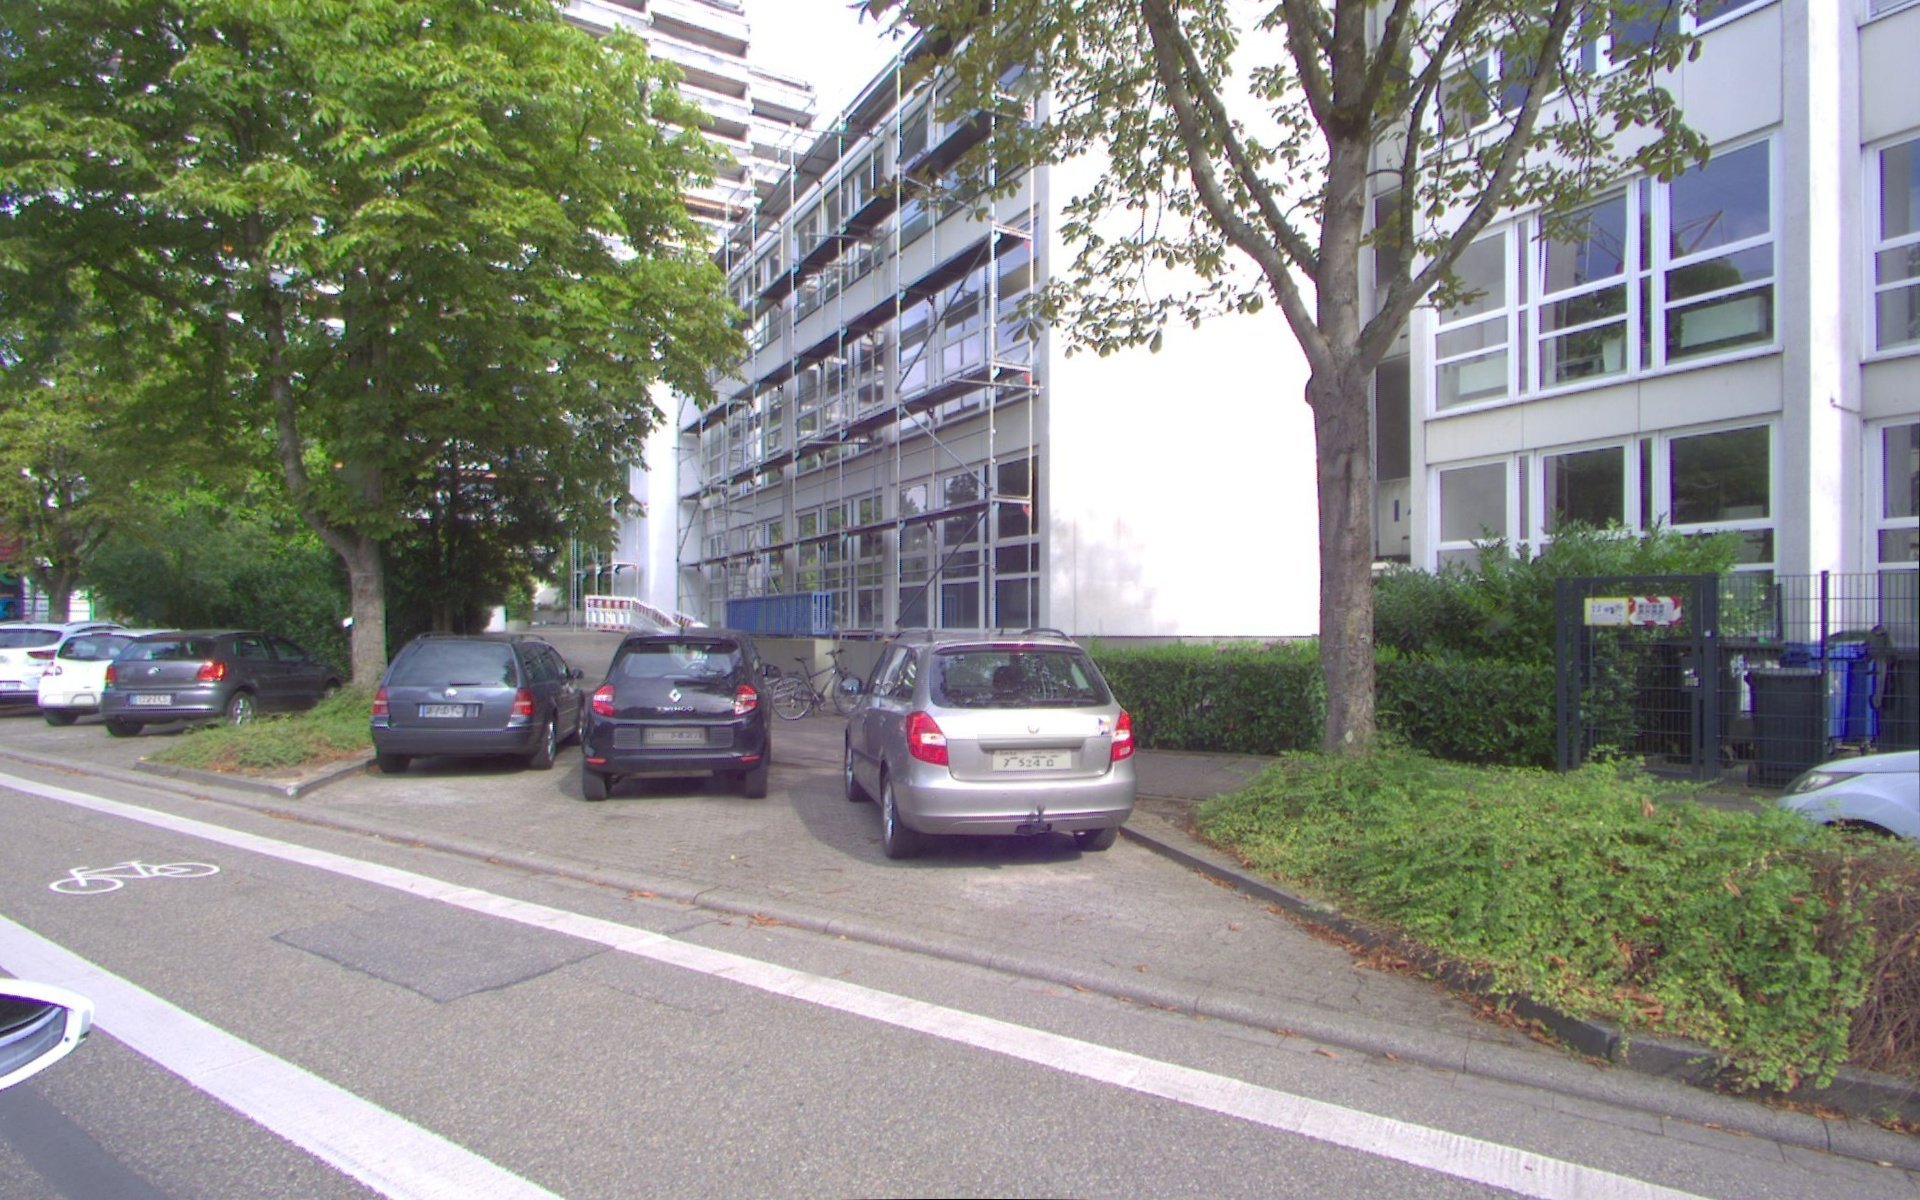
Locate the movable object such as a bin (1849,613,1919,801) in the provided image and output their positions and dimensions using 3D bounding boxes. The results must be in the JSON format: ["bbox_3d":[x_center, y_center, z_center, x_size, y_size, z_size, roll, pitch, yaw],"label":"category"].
[{"bbox_3d":[8.614,0.891,8.557,1.397,1.549,1.322,-1,-1,37],"label":"movable object such as a bin"}]

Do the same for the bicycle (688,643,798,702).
[{"bbox_3d":[-4.092,1.348,18.944,1.949,1.057,0.591,1,-1,-30],"label":"bicycle"}]

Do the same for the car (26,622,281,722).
[{"bbox_3d":[-13.415,1.142,16.957,1.650,1.493,3.647,0,-2,-6],"label":"car"}]

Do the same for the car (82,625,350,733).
[{"bbox_3d":[-11.076,1.113,15.255,1.650,1.438,3.647,0,-2,-6],"label":"car"}]

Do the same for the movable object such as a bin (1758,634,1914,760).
[{"bbox_3d":[10.400,1.102,11.900,1.160,1.388,1.171,1,-1,-36],"label":"movable object such as a bin"}]

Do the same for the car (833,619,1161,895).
[{"bbox_3d":[-0.004,0.962,7.811,1.566,1.557,4.049,1,-2,-13],"label":"car"}]

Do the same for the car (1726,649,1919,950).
[{"bbox_3d":[5.584,0.945,4.011,1.604,1.411,3.858,1,-2,-13],"label":"car"}]

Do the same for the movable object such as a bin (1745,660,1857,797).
[{"bbox_3d":[7.477,1.110,8.941,0.734,1.119,0.781,0,-1,38],"label":"movable object such as a bin"}]

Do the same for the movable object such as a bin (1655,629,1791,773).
[{"bbox_3d":[8.093,1.023,10.634,1.012,1.425,0.906,1,-1,-36],"label":"movable object such as a bin"}]

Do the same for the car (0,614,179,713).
[{"bbox_3d":[-16.272,1.109,18.369,1.651,1.623,3.644,0,-2,-12],"label":"car"}]

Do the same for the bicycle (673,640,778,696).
[{"bbox_3d":[-4.612,1.319,19.679,1.944,1.057,0.593,1,-1,-20],"label":"bicycle"}]

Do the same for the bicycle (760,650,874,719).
[{"bbox_3d":[-2.354,1.377,16.589,1.813,1.057,0.451,0,0,-29],"label":"bicycle"}]

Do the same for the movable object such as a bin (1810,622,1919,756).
[{"bbox_3d":[11.583,1.077,12.561,1.160,1.588,1.171,1,-1,-36],"label":"movable object such as a bin"}]

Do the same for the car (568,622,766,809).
[{"bbox_3d":[-2.798,1.016,10.186,1.566,1.557,3.416,1,-1,-10],"label":"car"}]

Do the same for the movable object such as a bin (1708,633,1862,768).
[{"bbox_3d":[9.255,1.076,11.246,1.050,1.409,1.111,1,-1,-36],"label":"movable object such as a bin"}]

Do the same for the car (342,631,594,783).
[{"bbox_3d":[-5.502,1.091,11.783,1.783,1.433,4.166,0,-2,-13],"label":"car"}]
